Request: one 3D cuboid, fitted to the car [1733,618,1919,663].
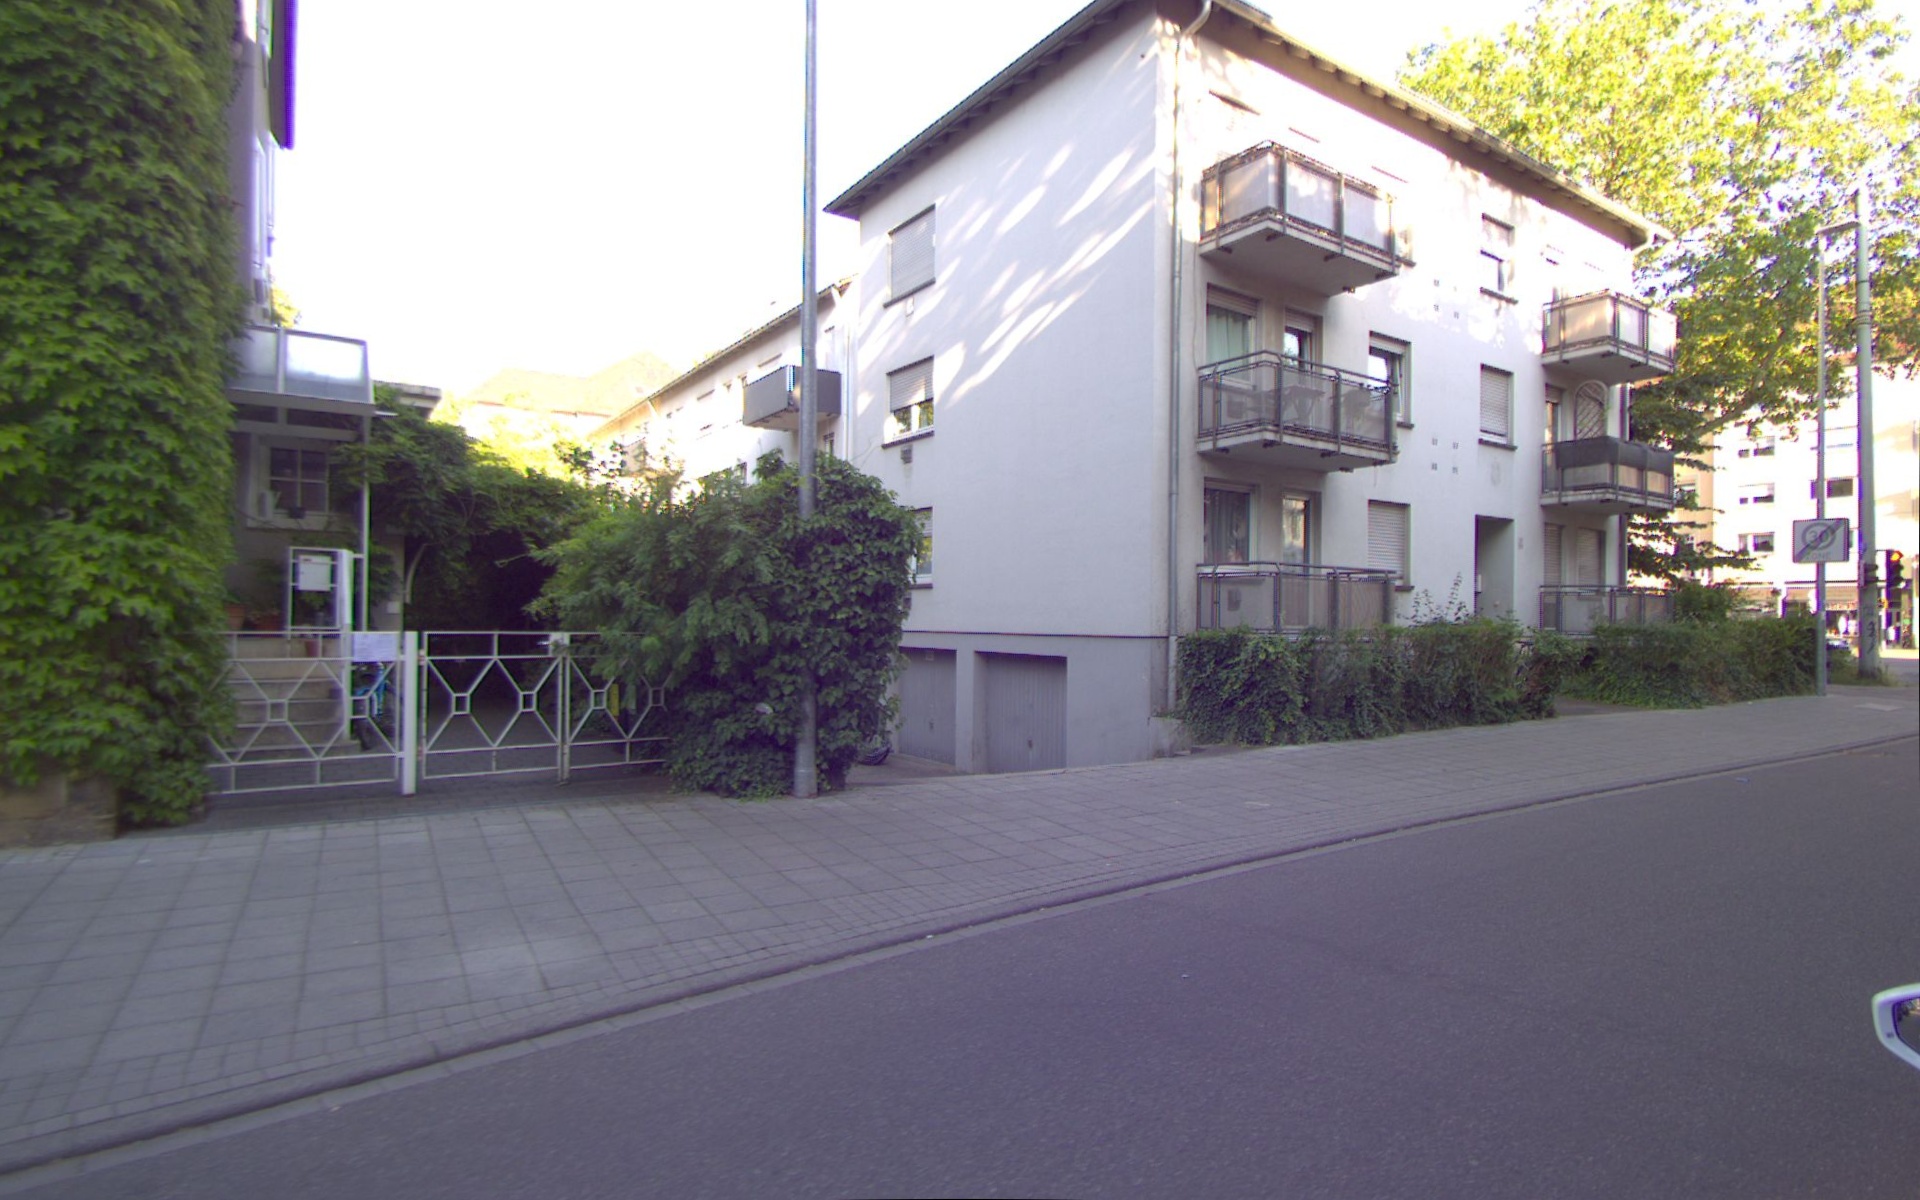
[{"bbox_3d":[29.806,1.364,34.722,1.704,1.447,4.652,1,-1,-38],"label":"car"}]

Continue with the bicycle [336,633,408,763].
[{"bbox_3d":[-5.944,0.928,10.224,0.469,1.117,2.189,0,0,-26],"label":"bicycle"}]

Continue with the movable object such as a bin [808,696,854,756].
[{"bbox_3d":[-2.588,2.501,20.101,0.606,1.129,0.794,0,-3,-34],"label":"movable object such as a bin"}]

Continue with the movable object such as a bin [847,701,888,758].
[{"bbox_3d":[-1.794,2.504,19.501,0.606,1.051,0.534,0,-3,-35],"label":"movable object such as a bin"}]

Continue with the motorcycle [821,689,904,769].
[{"bbox_3d":[-1.807,2.331,18.424,0.739,1.313,1.562,1,-2,-42],"label":"motorcycle"}]

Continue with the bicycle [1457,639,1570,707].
[{"bbox_3d":[9.446,1.230,17.185,1.590,1.022,0.517,2,1,19],"label":"bicycle"}]
